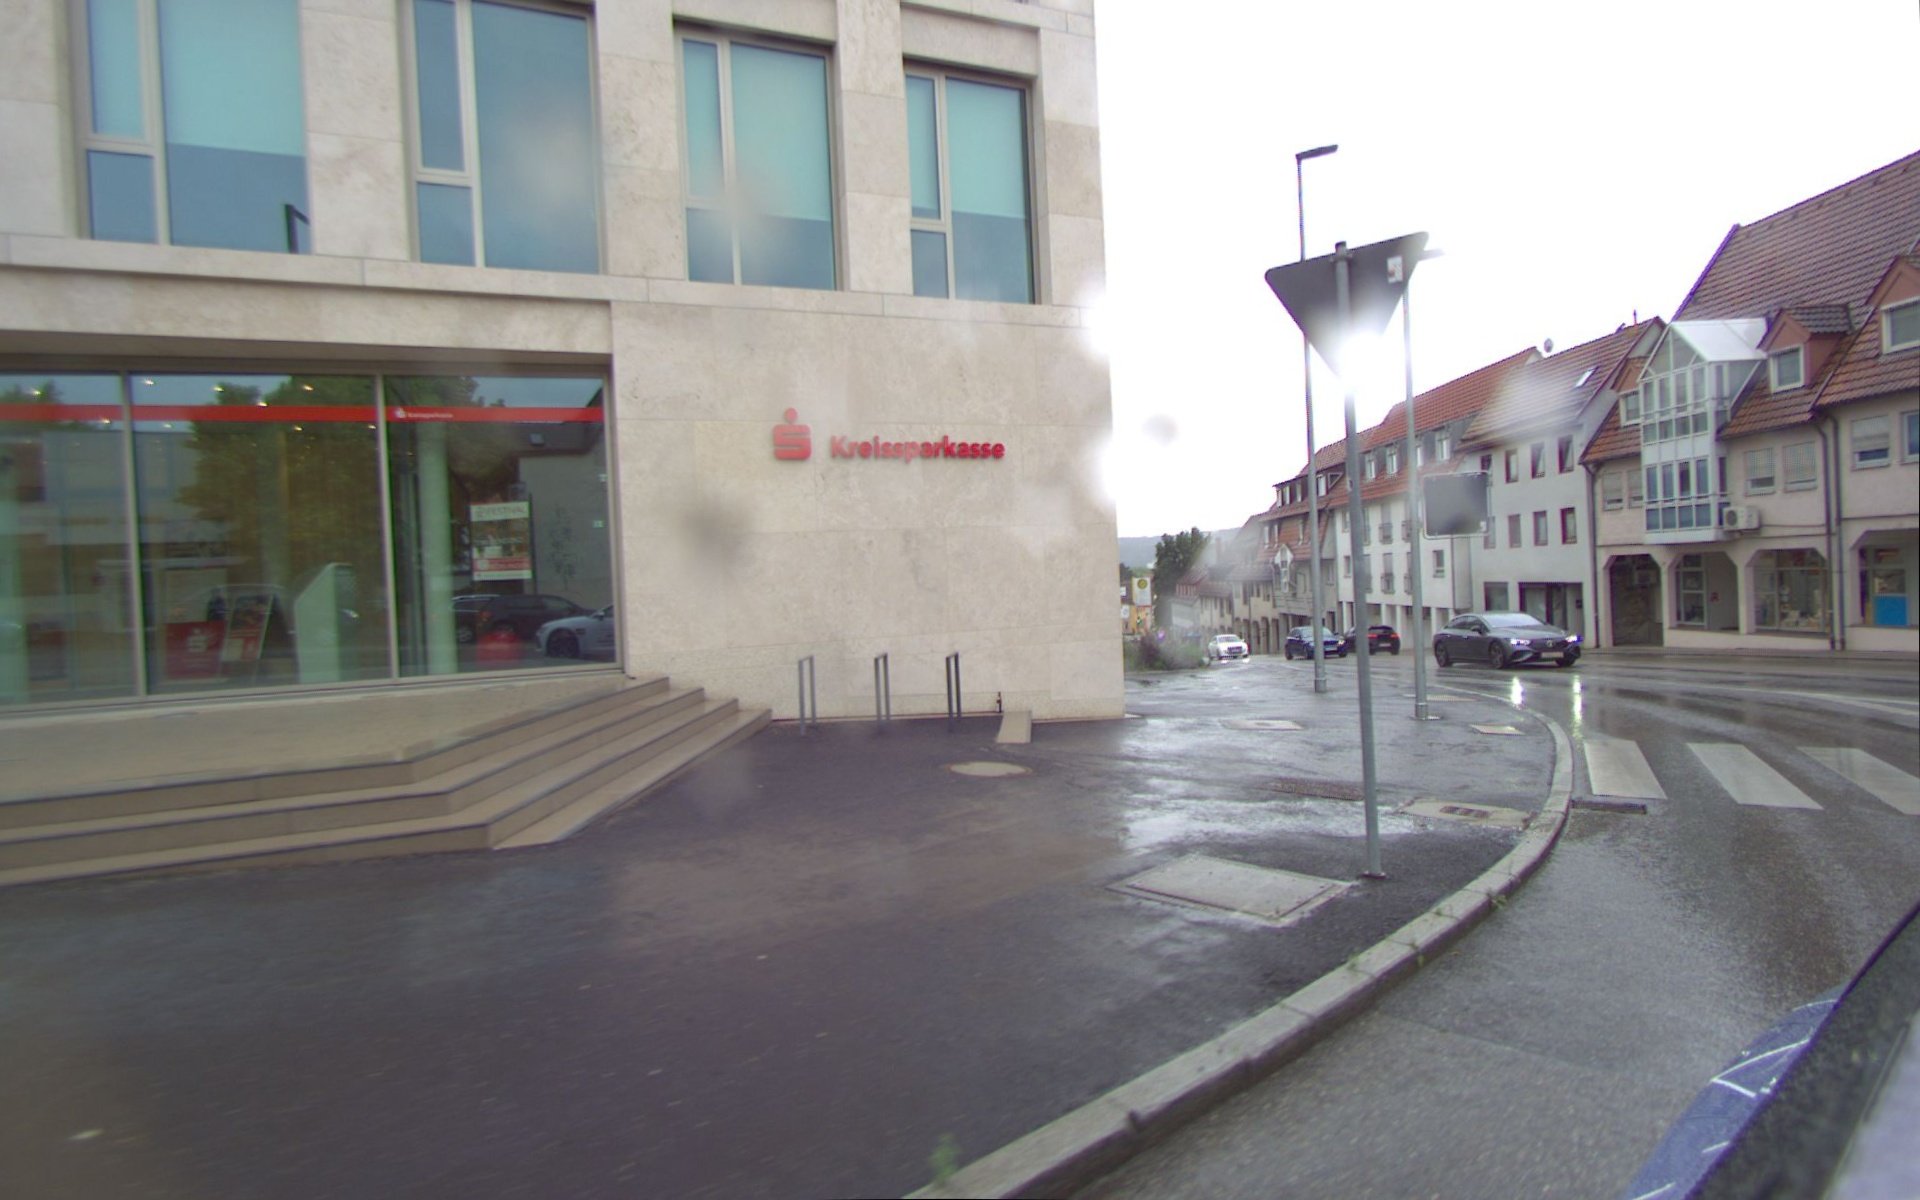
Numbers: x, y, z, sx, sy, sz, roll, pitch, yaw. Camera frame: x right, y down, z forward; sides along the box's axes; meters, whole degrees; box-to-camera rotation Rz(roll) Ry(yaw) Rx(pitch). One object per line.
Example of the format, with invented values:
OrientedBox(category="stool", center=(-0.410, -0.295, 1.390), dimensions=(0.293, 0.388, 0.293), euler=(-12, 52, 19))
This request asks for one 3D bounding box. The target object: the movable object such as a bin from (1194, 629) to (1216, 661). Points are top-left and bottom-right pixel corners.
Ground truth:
OrientedBox(category="movable object such as a bin", center=(8.672, 1.601, 35.840), dimensions=(0.587, 1.076, 0.578), euler=(-3, -4, 4))

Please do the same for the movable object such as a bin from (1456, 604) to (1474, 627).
OrientedBox(category="movable object such as a bin", center=(24.245, 0.738, 48.565), dimensions=(0.500, 1.020, 0.584), euler=(-3, -4, 0))

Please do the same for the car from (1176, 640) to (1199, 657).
OrientedBox(category="car", center=(21.926, 4.713, 97.652), dimensions=(1.535, 1.556, 3.444), euler=(-2, -3, 3))

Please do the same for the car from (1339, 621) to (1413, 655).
OrientedBox(category="car", center=(19.340, 1.799, 47.265), dimensions=(1.858, 1.486, 3.995), euler=(-2, -3, 2))

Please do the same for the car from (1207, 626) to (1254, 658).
OrientedBox(category="car", center=(16.060, 2.531, 60.253), dimensions=(1.934, 1.629, 4.373), euler=(-3, -5, 6))

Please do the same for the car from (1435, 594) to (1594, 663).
OrientedBox(category="car", center=(14.710, 0.824, 27.182), dimensions=(1.934, 1.578, 4.613), euler=(-3, -3, 5))

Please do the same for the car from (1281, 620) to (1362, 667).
OrientedBox(category="car", center=(15.675, 1.940, 44.161), dimensions=(1.932, 1.794, 4.377), euler=(-3, -5, 1))
